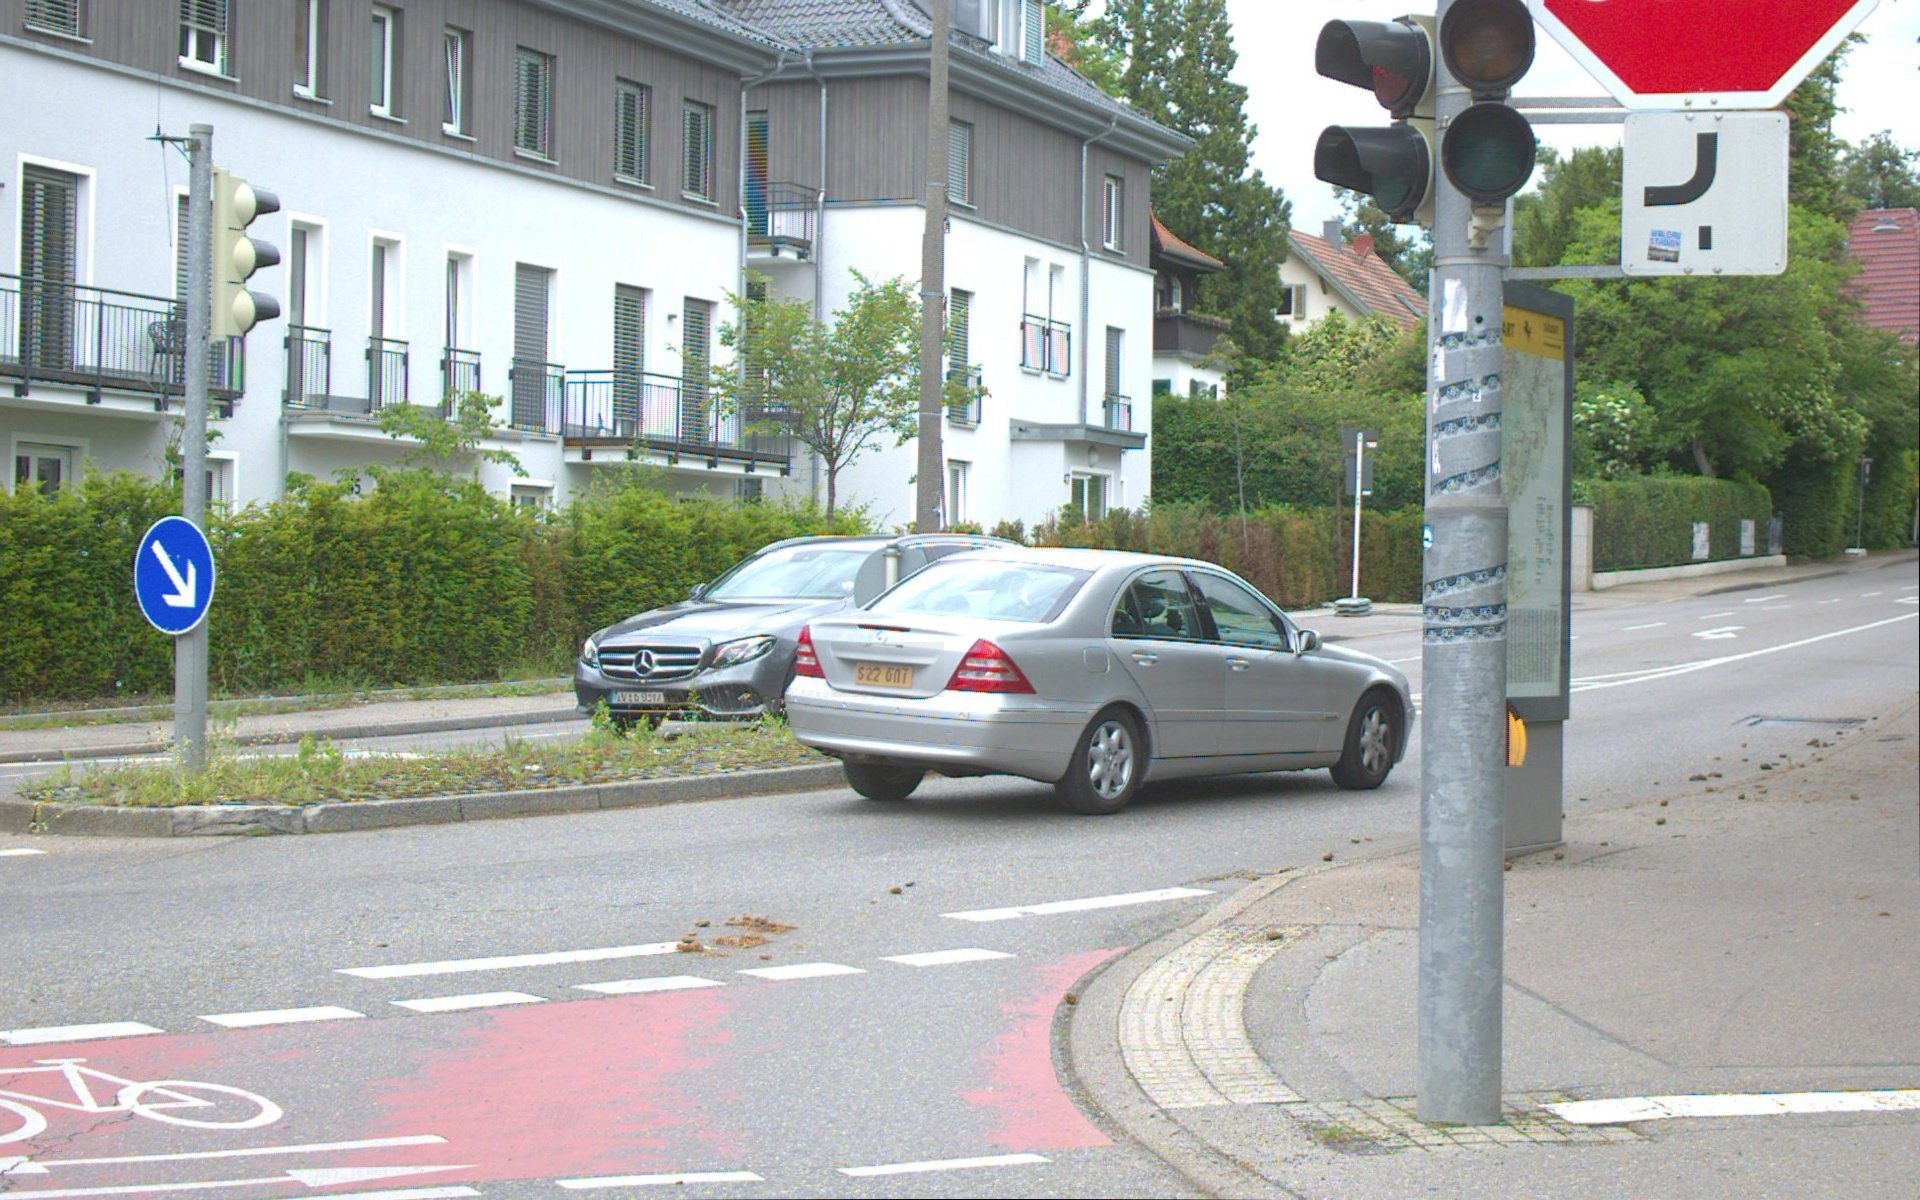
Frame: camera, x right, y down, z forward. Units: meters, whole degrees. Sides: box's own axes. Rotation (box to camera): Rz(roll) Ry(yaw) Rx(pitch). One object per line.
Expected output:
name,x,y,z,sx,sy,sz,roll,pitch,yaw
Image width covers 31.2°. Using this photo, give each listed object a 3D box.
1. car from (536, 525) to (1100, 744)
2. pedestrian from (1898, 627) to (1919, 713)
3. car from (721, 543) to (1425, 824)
car,-0.961,0.195,26.200,1.829,1.480,4.739,0,1,34
pedestrian,8.186,0.581,28.359,0.644,0.694,0.585,0,2,-19
car,0.764,0.416,19.673,1.801,1.410,4.326,1,1,38
